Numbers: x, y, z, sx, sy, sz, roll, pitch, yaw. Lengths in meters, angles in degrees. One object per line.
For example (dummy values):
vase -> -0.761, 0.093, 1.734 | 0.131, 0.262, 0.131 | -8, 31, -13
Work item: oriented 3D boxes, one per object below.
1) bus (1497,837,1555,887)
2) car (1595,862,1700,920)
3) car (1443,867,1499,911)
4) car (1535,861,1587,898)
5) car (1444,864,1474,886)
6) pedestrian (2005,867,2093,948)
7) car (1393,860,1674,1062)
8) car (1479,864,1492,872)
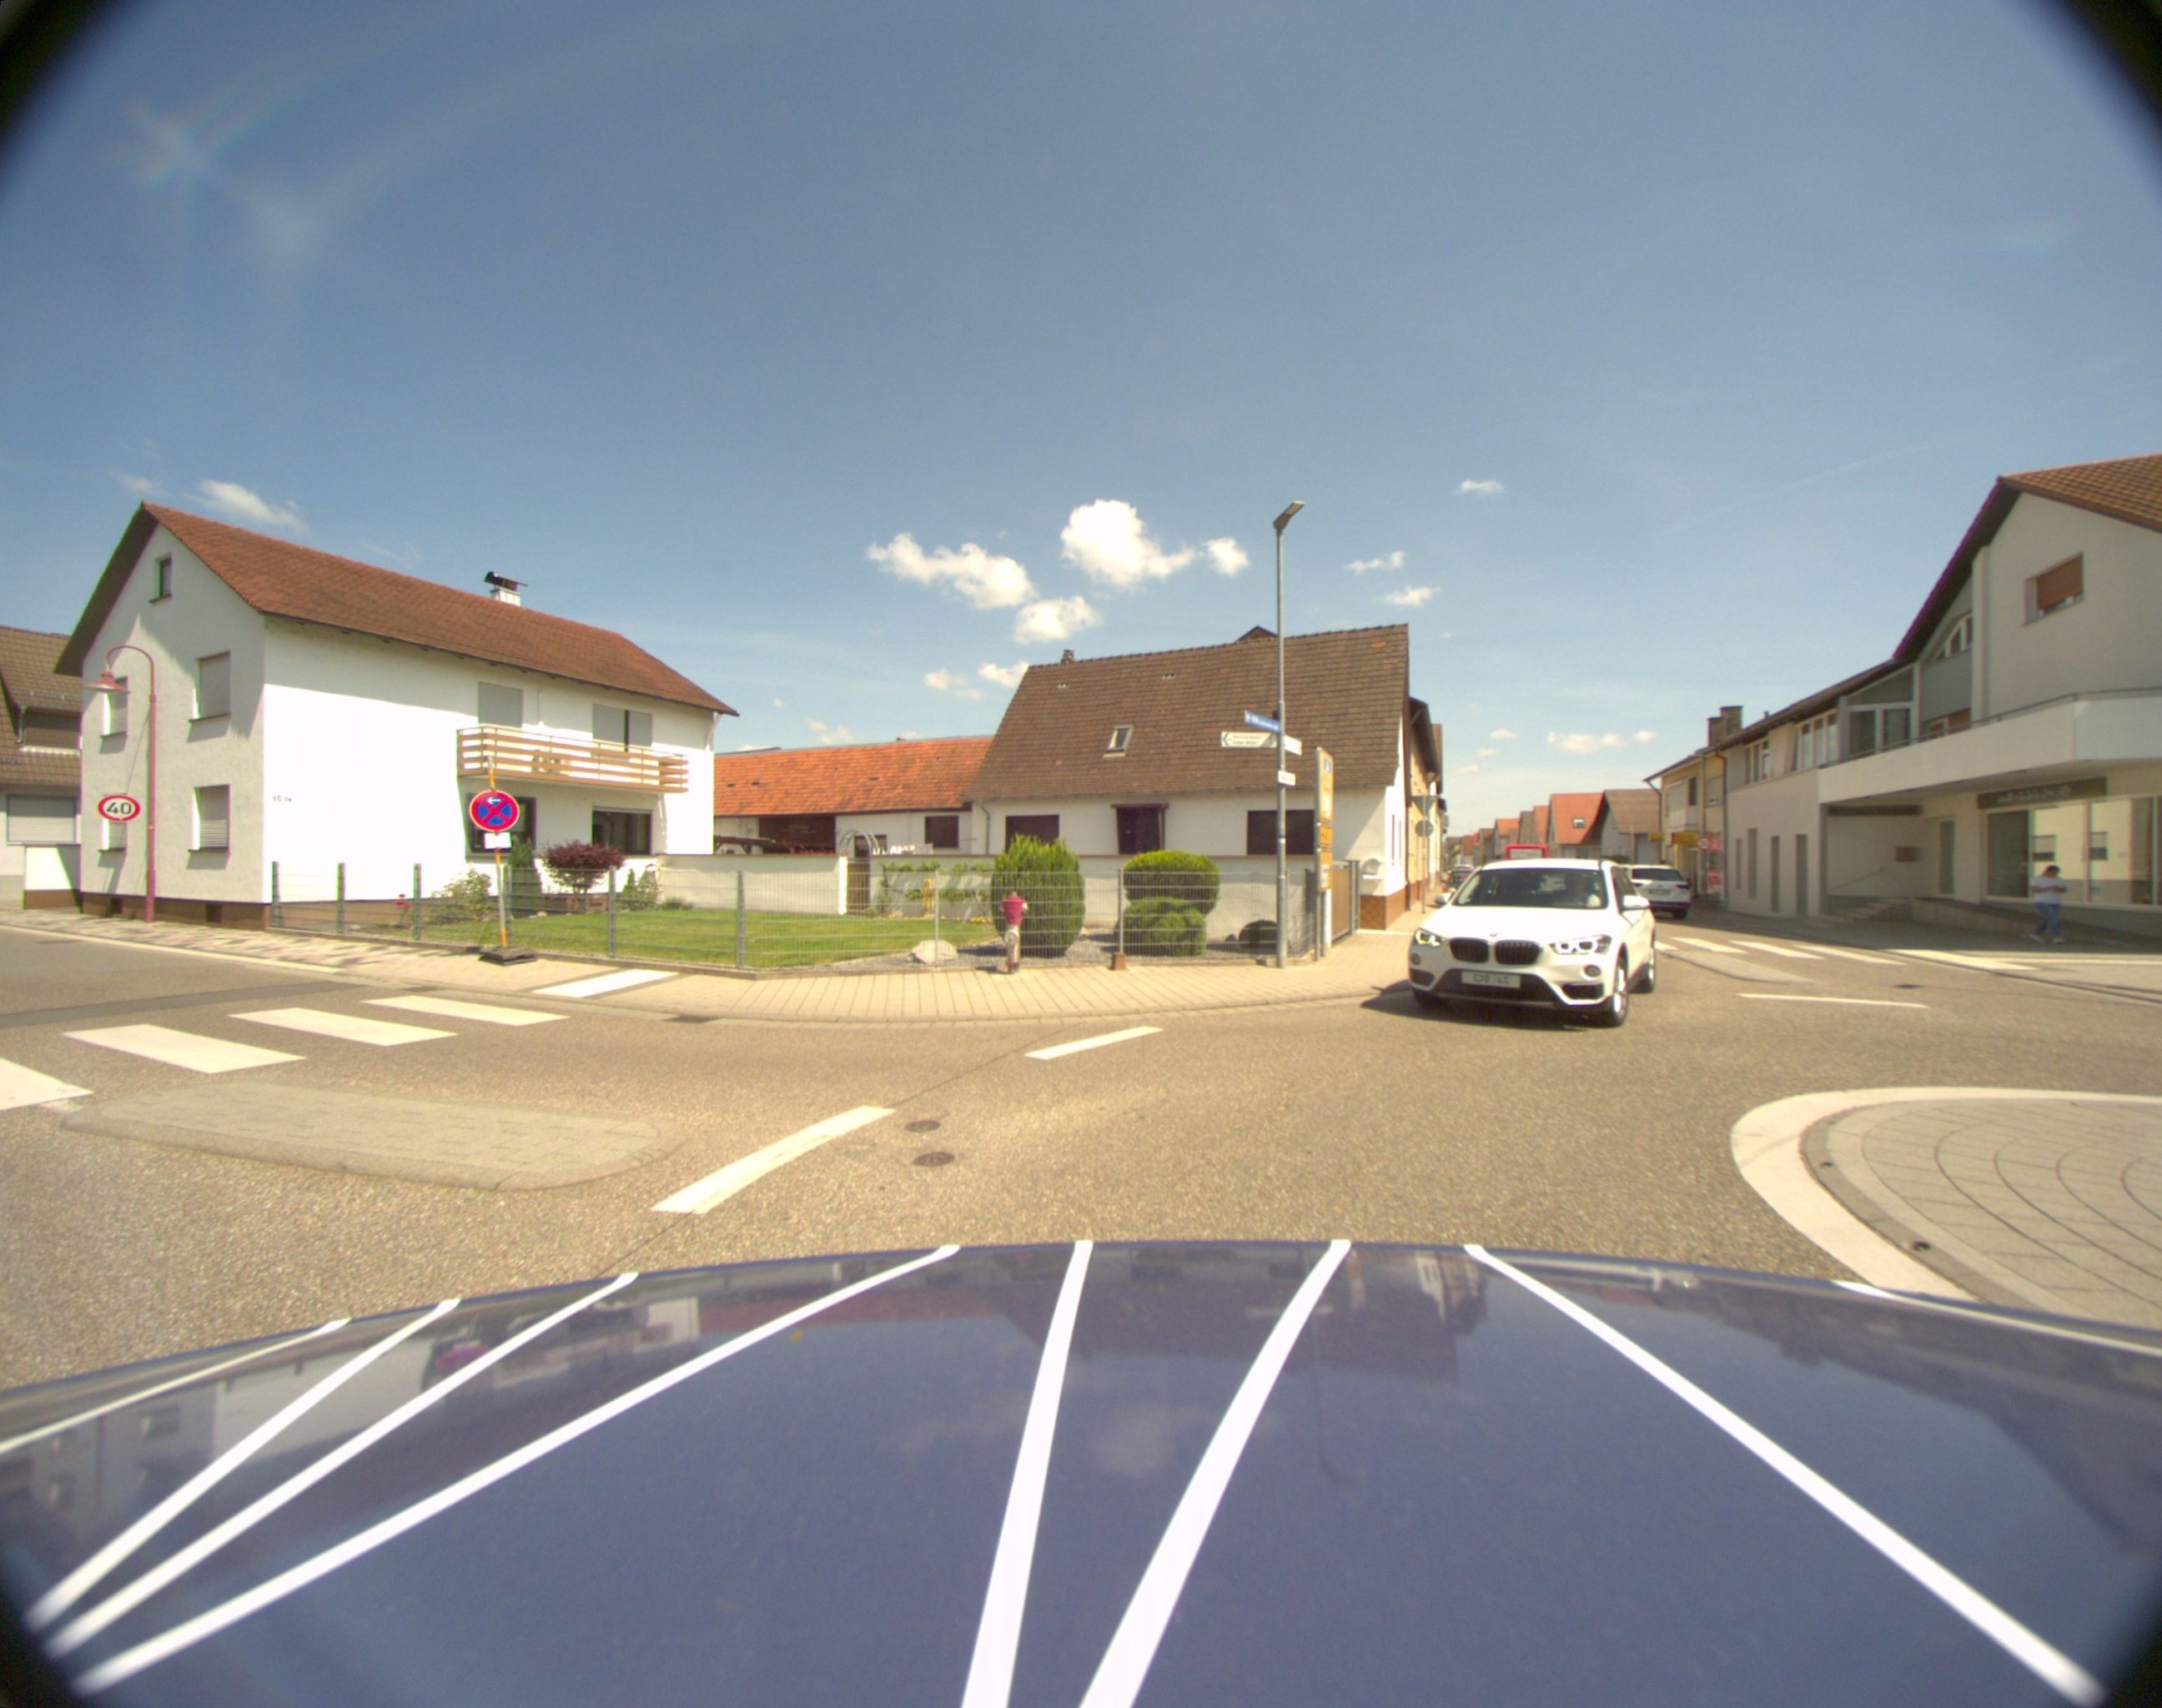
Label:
bus -> 31.997, 0.546, 55.058 | 2.628, 3.213, 12.045 | 2, 1, 26
car -> 18.221, 1.106, 24.681 | 1.867, 1.700, 4.551 | 0, 0, 25
car -> 14.403, 1.246, 28.166 | 1.686, 1.454, 3.636 | 3, 0, 26
car -> 25.568, 1.311, 40.605 | 1.772, 1.810, 4.450 | 2, 0, 26
car -> 25.772, 1.415, 51.813 | 1.761, 1.420, 4.197 | 1, -1, 26
pedestrian -> 19.646, 1.065, 15.446 | 0.756, 1.574, 0.958 | -2, 0, 28
car -> 5.215, 0.917, 8.446 | 1.841, 1.635, 4.384 | -2, -2, 42
car -> 69.348, 2.389, 130.299 | 1.761, 1.420, 3.859 | 1, -1, 23
